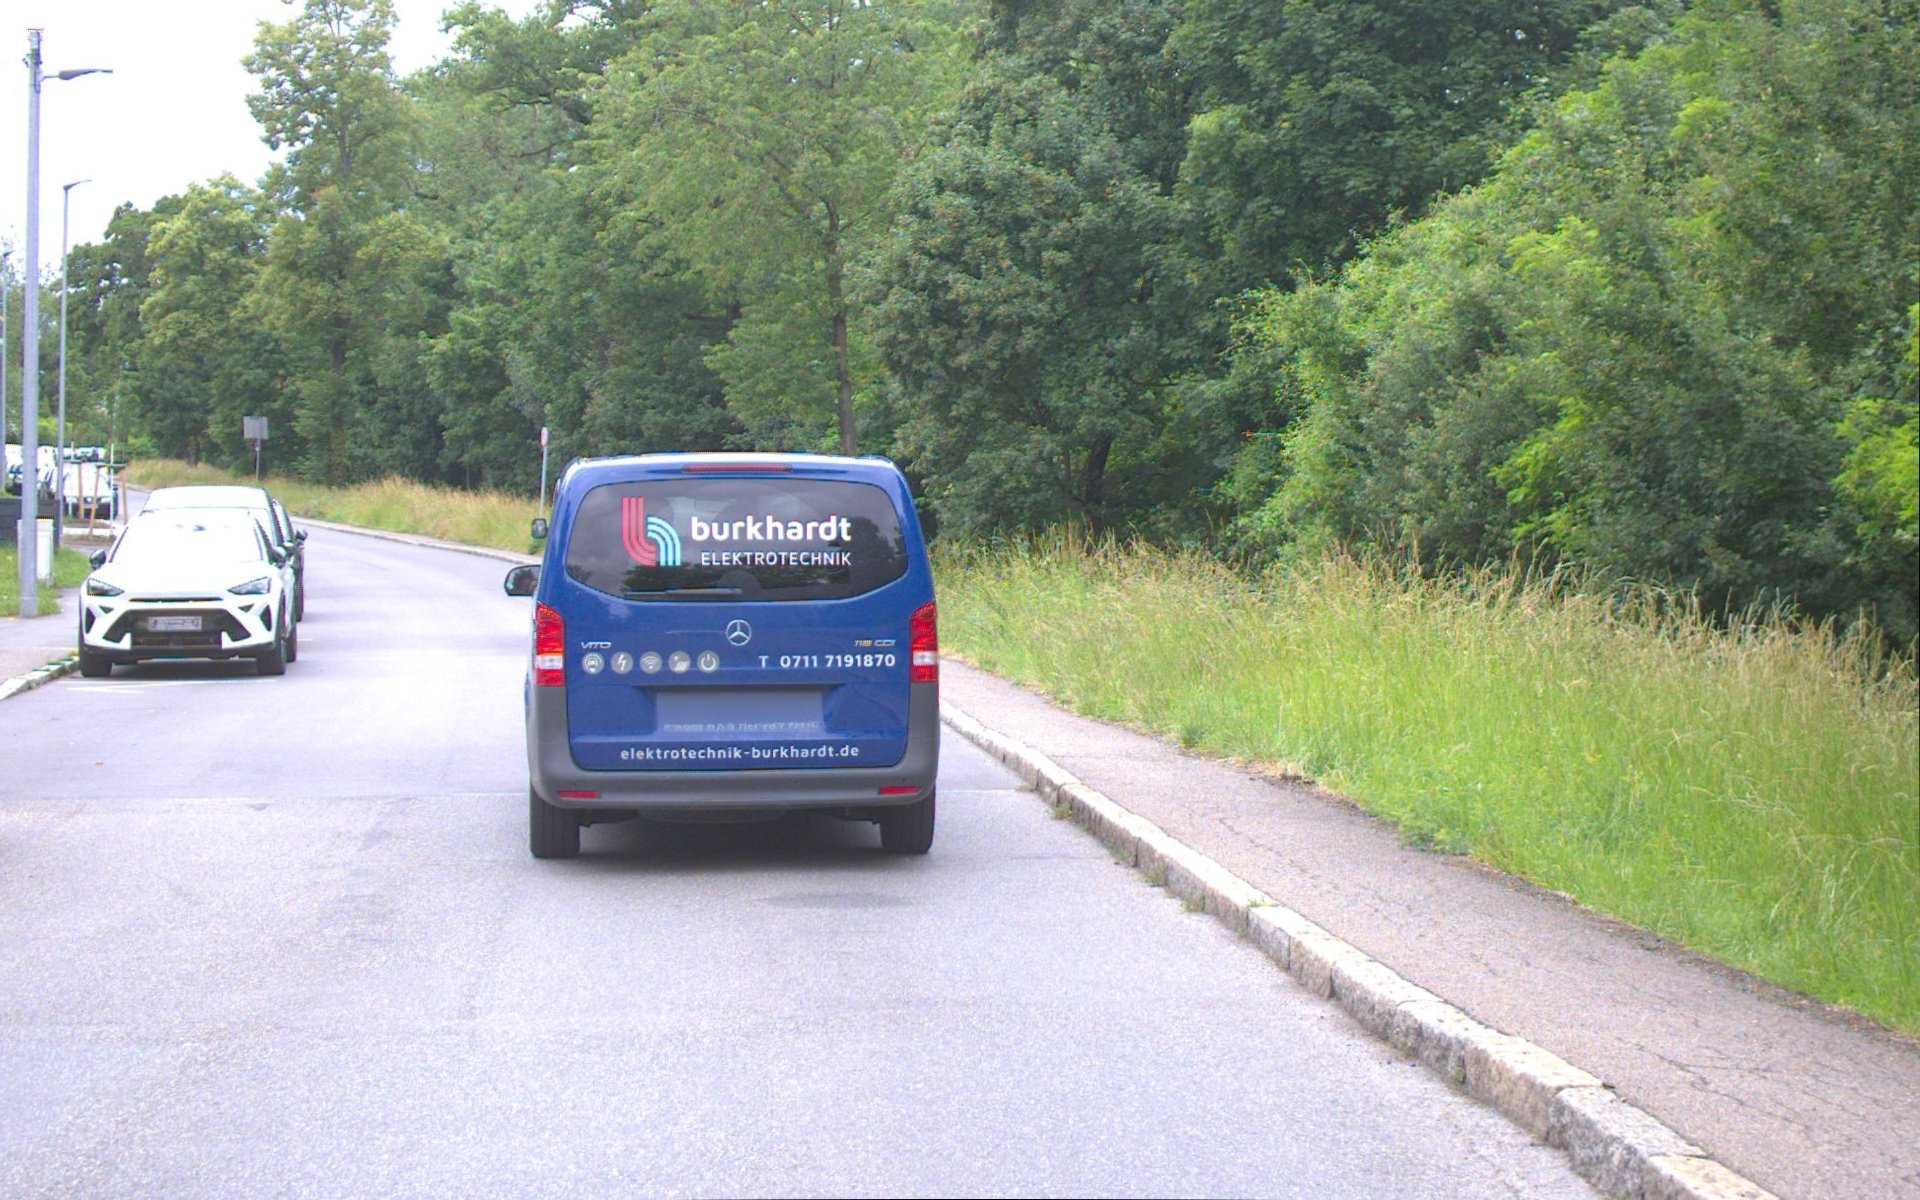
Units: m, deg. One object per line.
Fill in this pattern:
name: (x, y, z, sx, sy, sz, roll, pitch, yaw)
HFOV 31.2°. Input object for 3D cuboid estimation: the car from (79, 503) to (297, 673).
car: (-7.328, -0.147, 32.971, 1.724, 1.487, 4.415, 1, 1, -9)

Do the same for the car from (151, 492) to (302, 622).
car: (-9.864, -0.600, 46.472, 1.815, 1.610, 4.225, 2, 1, -10)

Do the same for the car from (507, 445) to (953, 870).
car: (-1.240, 0.224, 17.029, 1.913, 1.831, 4.295, 0, 1, -7)

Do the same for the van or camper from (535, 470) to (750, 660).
van or camper: (-3.620, -0.446, 38.445, 2.019, 1.950, 4.898, -1, 2, -9)
